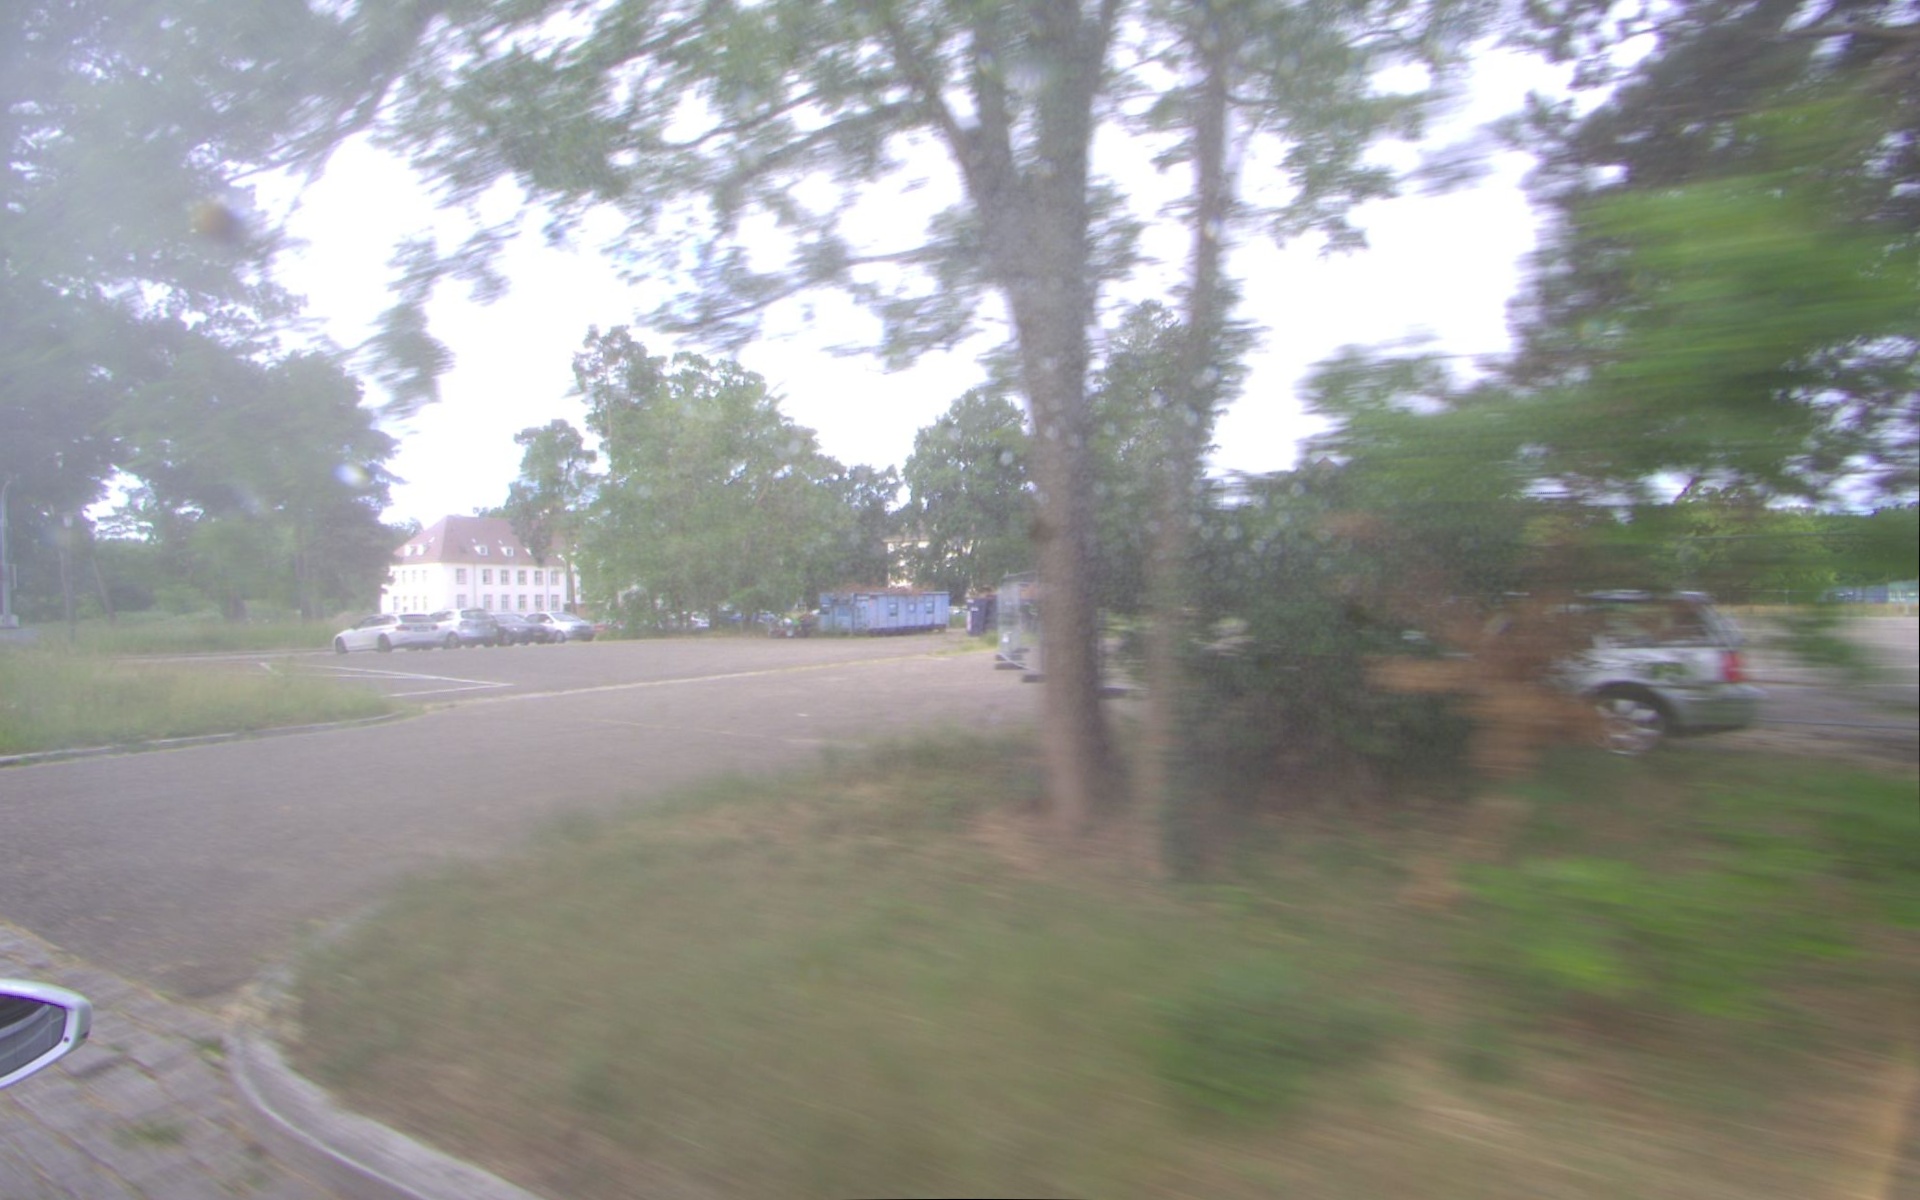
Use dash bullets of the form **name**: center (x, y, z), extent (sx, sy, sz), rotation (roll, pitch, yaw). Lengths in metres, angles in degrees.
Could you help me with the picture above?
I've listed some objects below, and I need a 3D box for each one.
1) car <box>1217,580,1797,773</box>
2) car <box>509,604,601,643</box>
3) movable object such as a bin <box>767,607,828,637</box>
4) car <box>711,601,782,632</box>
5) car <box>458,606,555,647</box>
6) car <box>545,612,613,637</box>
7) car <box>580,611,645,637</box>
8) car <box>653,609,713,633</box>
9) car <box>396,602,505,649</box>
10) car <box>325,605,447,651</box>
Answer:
- **car**: center (4.843, 0.622, 9.447), extent (4.421, 1.469, 1.672), rotation (-1, -1, 29)
- **car**: center (-18.128, 1.054, 44.757), extent (4.186, 1.504, 1.697), rotation (-4, -1, 33)
- **movable object such as a bin**: center (-6.295, 0.857, 38.854), extent (2.176, 1.149, 0.960), rotation (-1, -1, 23)
- **car**: center (-14.889, 1.130, 69.693), extent (4.724, 2.053, 2.131), rotation (0, 0, 33)
- **car**: center (-19.120, 1.105, 42.153), extent (4.186, 1.504, 1.697), rotation (-4, -1, 33)
- **car**: center (-22.075, 1.396, 57.983), extent (4.189, 1.408, 1.728), rotation (-1, 0, 37)
- **car**: center (-20.980, 1.410, 60.386), extent (4.189, 1.492, 1.728), rotation (-1, 0, 37)
- **car**: center (-18.065, 1.343, 65.253), extent (4.189, 1.521, 1.611), rotation (-1, 0, 37)
- **car**: center (-20.216, 1.009, 39.741), extent (4.180, 1.626, 1.780), rotation (-4, -1, 29)
- **car**: center (-21.473, 1.064, 37.413), extent (4.541, 1.505, 1.847), rotation (-4, -3, 29)
